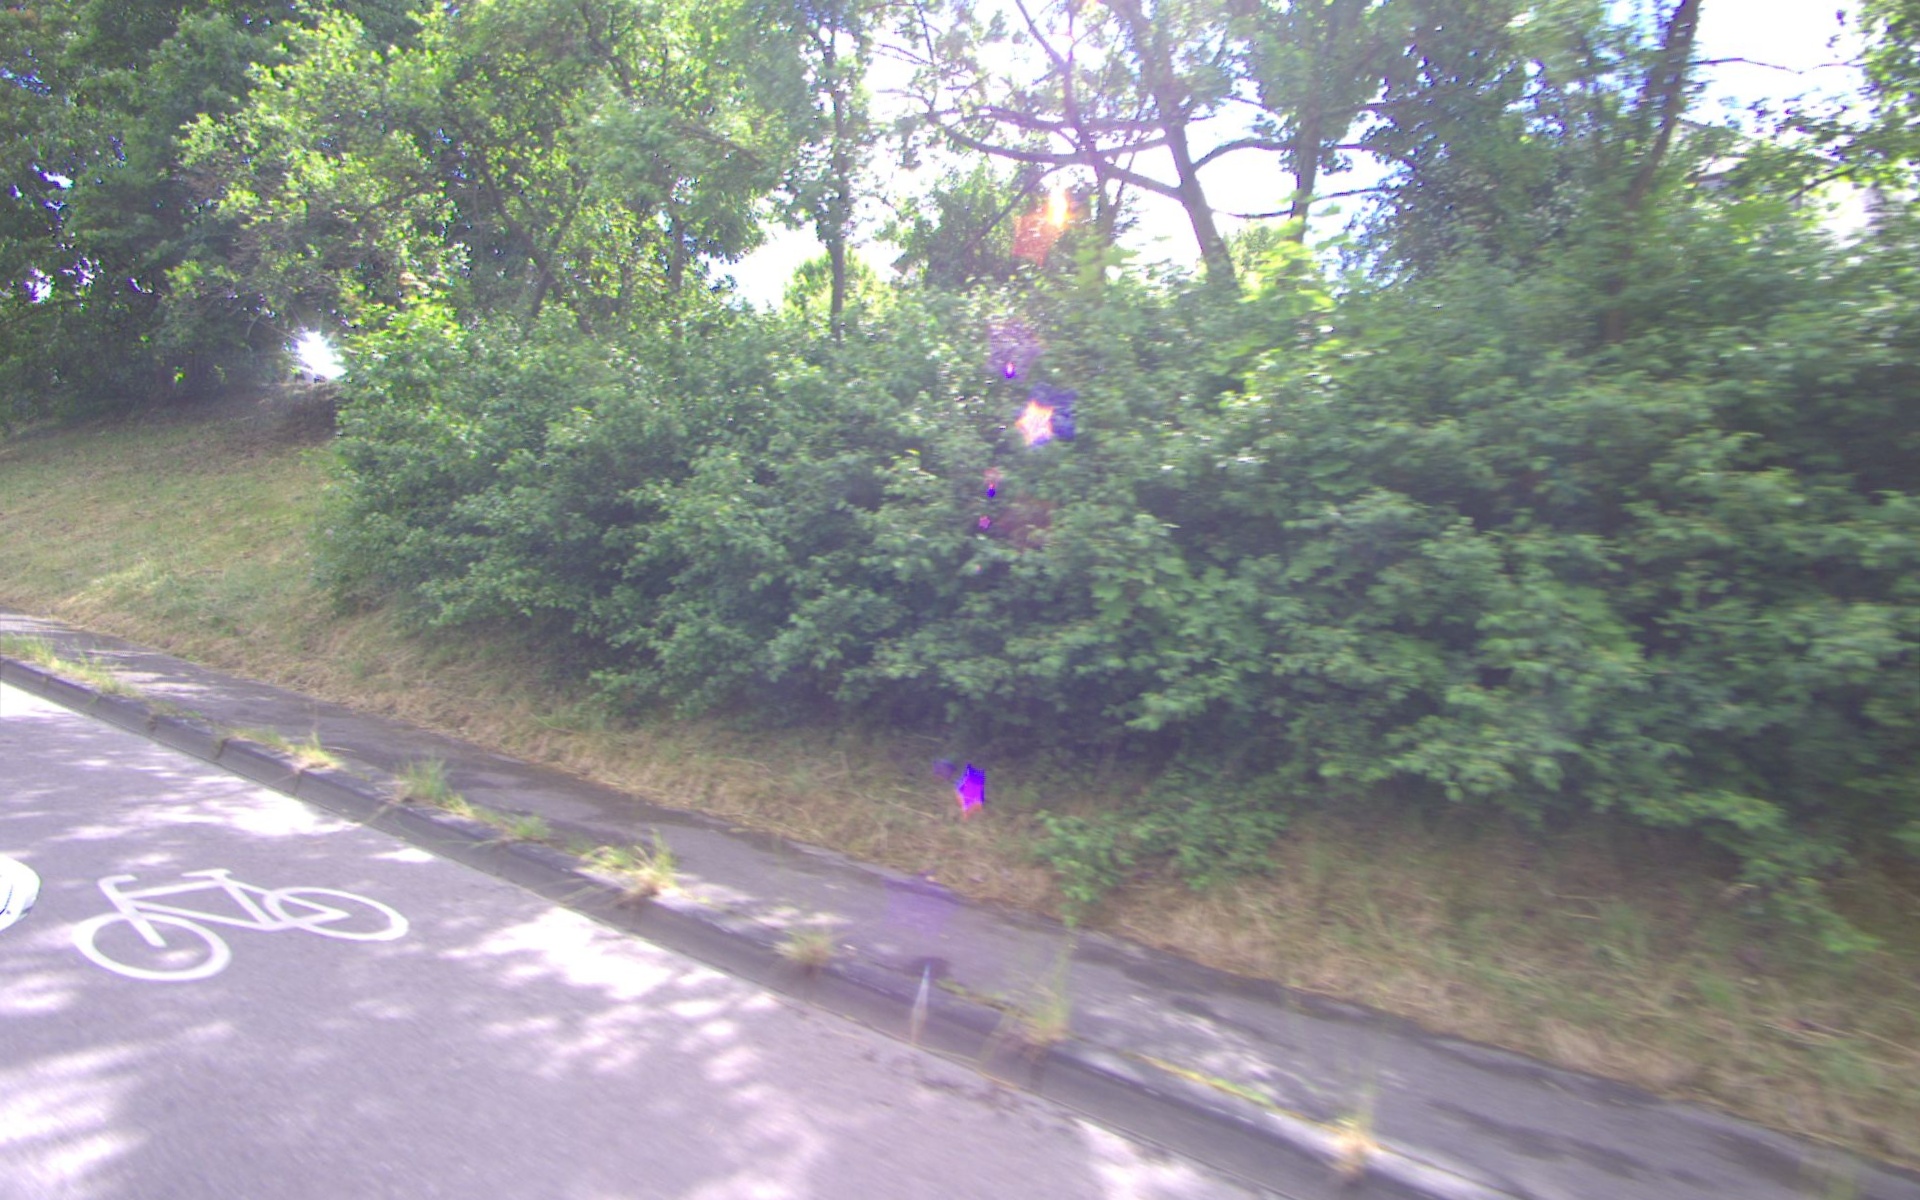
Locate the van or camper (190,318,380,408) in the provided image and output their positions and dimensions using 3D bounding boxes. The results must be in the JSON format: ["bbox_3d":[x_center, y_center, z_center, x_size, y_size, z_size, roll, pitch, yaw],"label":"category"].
[{"bbox_3d":[-21.477,-7.476,31.955,6.055,2.094,2.222,7,-1,28],"label":"van or camper"}]
